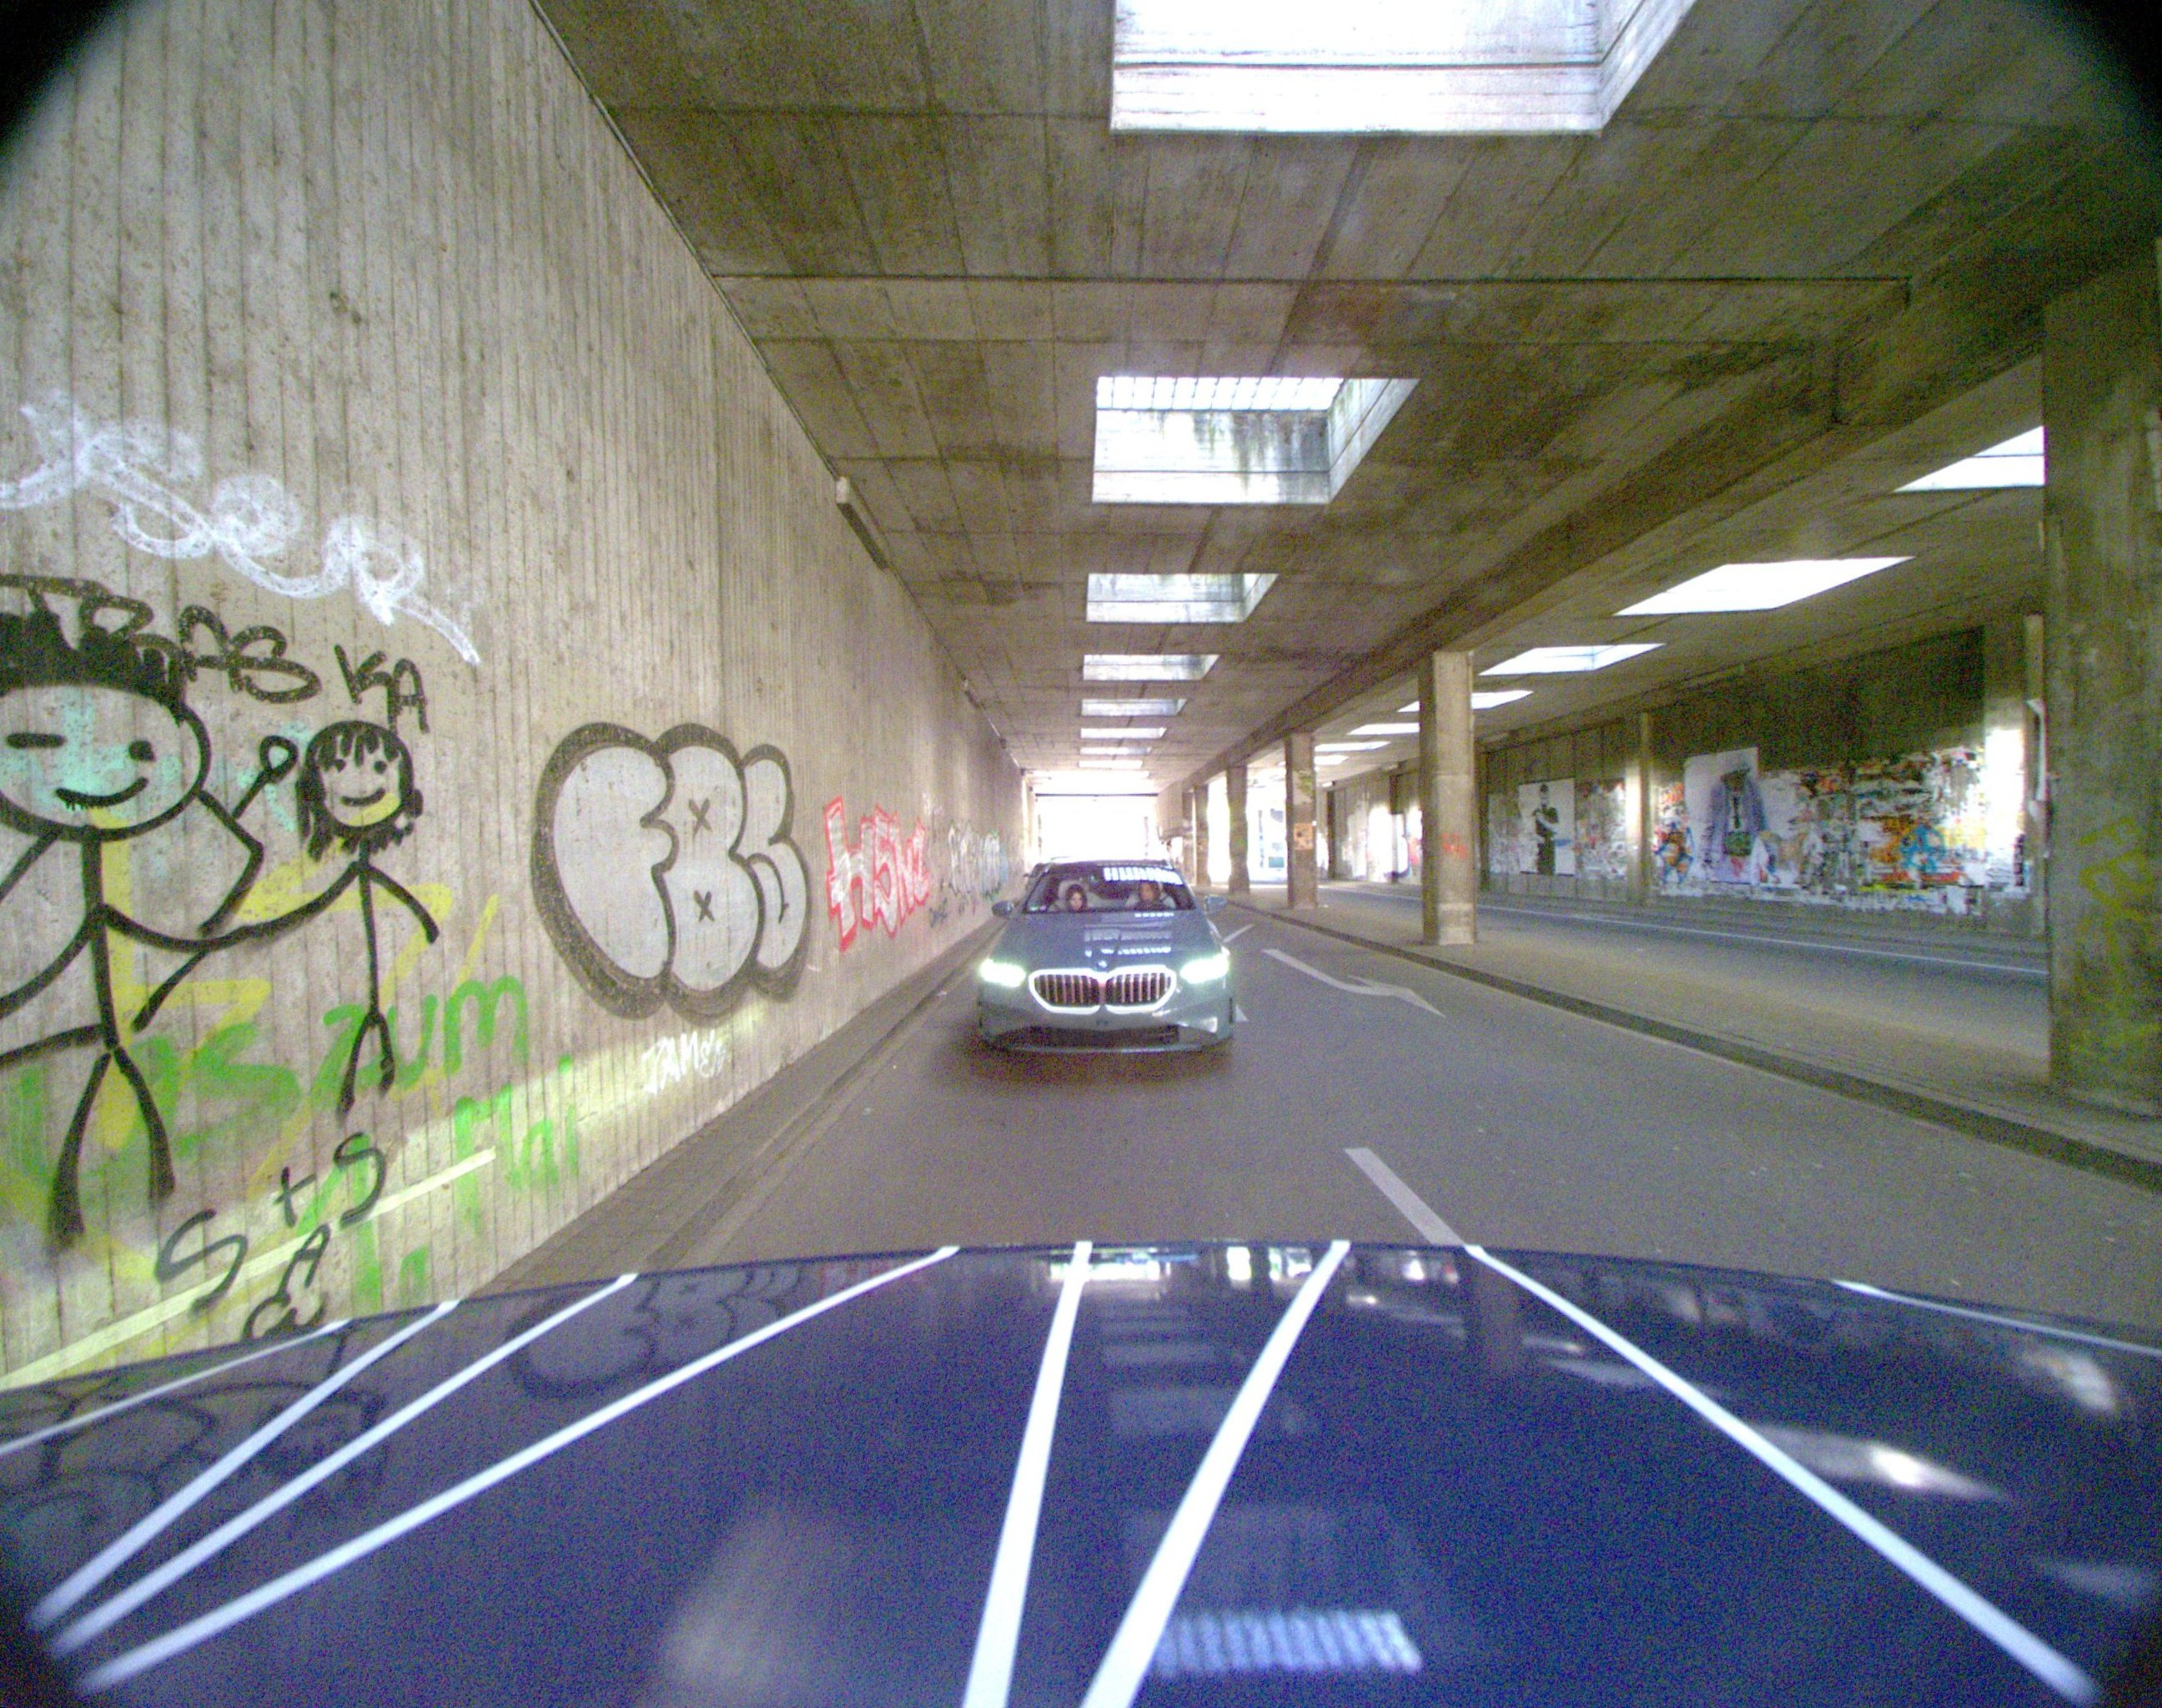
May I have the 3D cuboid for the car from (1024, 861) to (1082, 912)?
[{"bbox_3d":[-0.797,0.948,23.914,1.593,1.387,3.833,-2,0,1],"label":"car"}]

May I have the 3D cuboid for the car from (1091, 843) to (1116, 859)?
[{"bbox_3d":[2.851,-0.339,97.551,2.361,2.002,5.146,-1,0,-8],"label":"car"}]

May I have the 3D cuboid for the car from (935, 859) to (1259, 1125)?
[{"bbox_3d":[0.179,0.883,7.339,1.998,1.594,5.176,-1,0,2],"label":"car"}]

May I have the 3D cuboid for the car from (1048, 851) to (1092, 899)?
[{"bbox_3d":[-0.374,0.766,29.920,1.581,1.676,4.078,-2,0,1],"label":"car"}]

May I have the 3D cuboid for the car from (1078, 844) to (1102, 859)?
[{"bbox_3d":[1.197,-0.345,103.564,2.361,2.002,5.146,-1,0,-8],"label":"car"}]
